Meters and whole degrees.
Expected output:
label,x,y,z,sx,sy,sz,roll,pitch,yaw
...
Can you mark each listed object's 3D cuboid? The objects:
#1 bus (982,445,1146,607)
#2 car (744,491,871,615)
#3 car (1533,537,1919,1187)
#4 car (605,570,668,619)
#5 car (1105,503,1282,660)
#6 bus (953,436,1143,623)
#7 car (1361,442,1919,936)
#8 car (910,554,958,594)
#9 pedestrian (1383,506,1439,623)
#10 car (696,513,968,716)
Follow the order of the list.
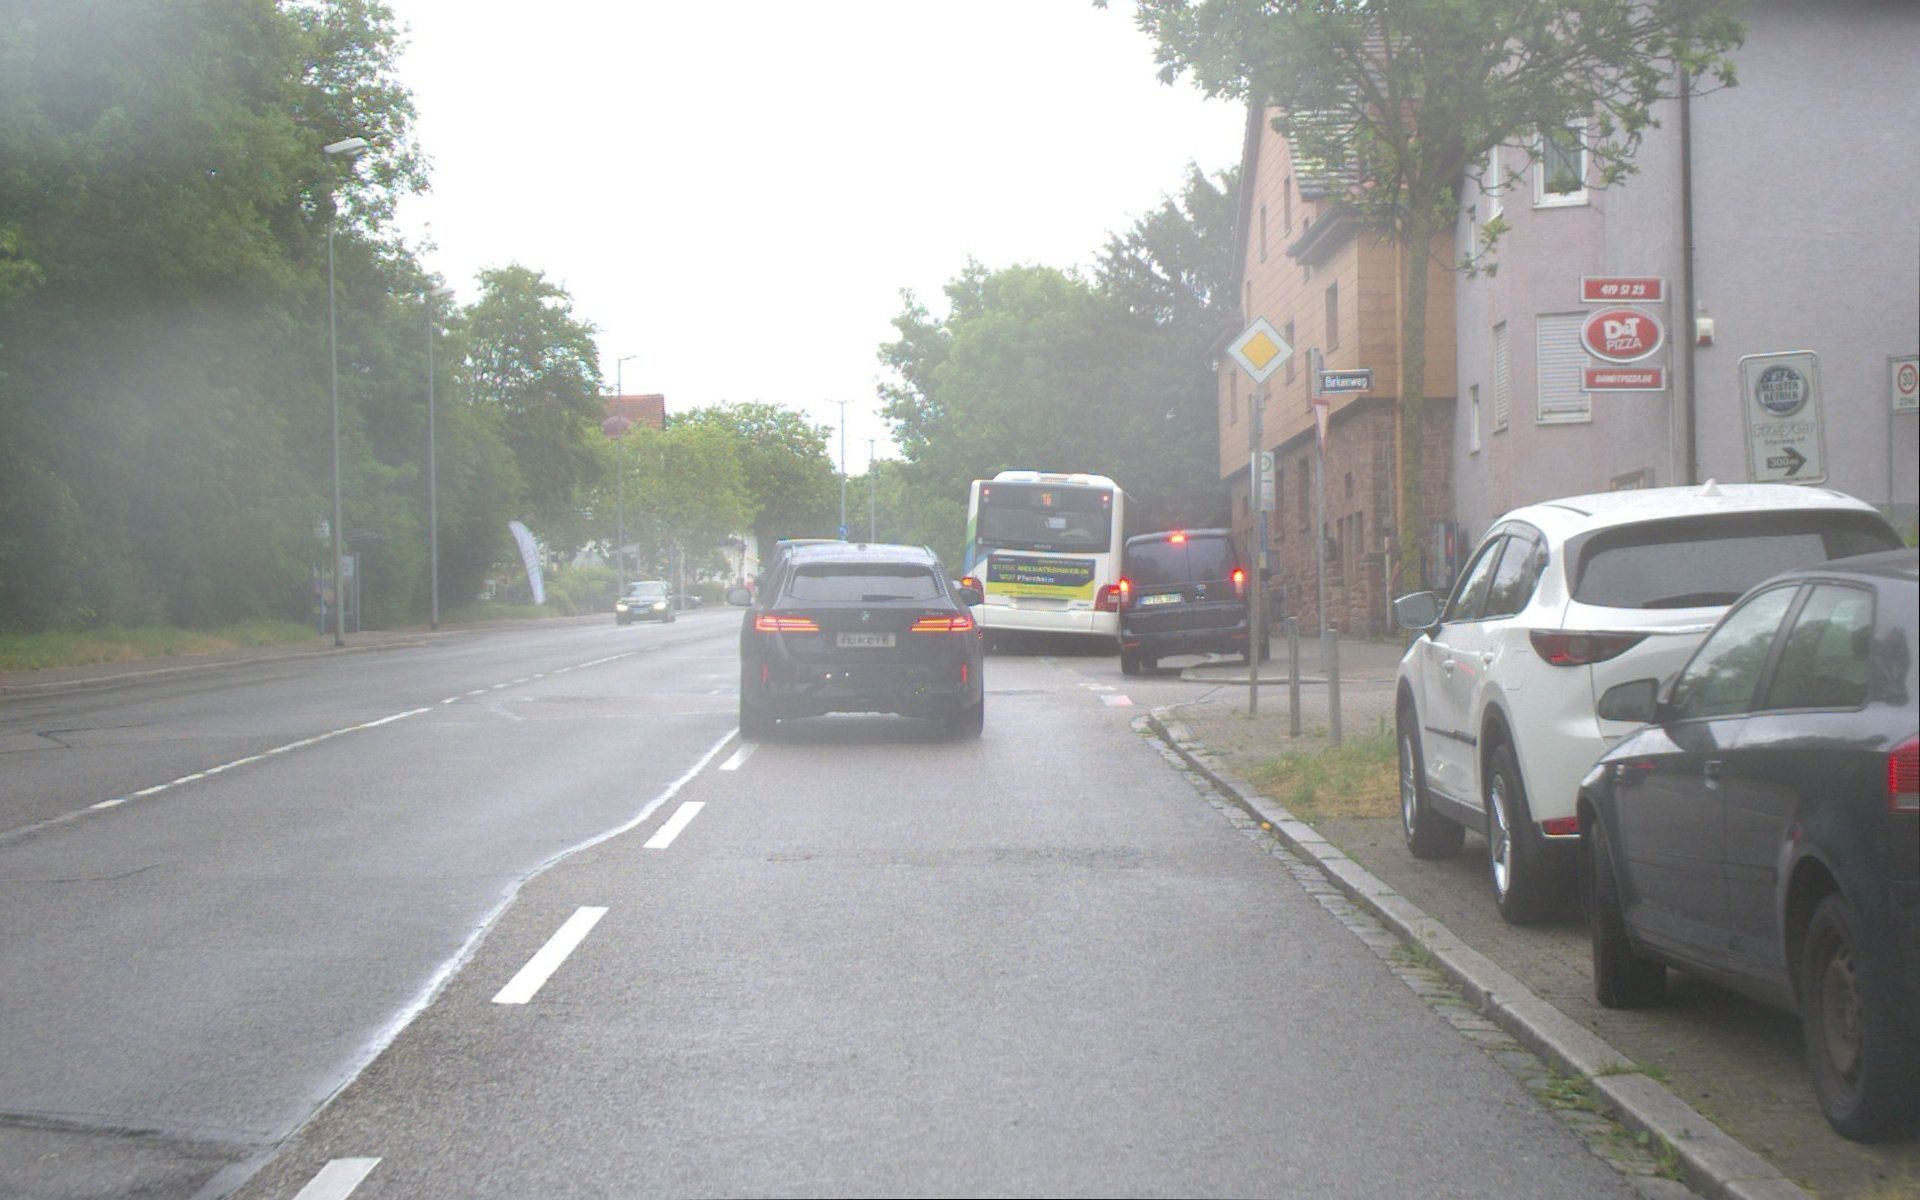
label,x,y,z,sx,sy,sz,roll,pitch,yaw
bus,1.907,-1.457,66.811,2.623,2.837,9.795,-2,1,-1
car,-2.531,-0.802,57.829,1.993,2.007,4.000,0,1,0
car,2.847,0.546,9.699,1.641,1.443,3.999,-1,1,-2
car,-10.956,-0.207,116.619,1.770,1.528,4.000,-2,1,-1
car,3.208,-0.256,46.343,1.927,1.886,4.760,-4,0,8
bus,1.595,-1.212,57.880,2.623,2.837,8.288,-2,1,5
car,2.914,0.265,14.817,1.824,1.766,4.541,-1,1,0
car,-1.111,-1.105,144.709,1.865,1.513,4.001,-1,2,-2
pedestrian,6.859,-0.547,52.316,0.690,1.748,0.669,-2,1,-1
car,-0.958,0.064,27.788,1.993,1.448,4.000,2,1,0
